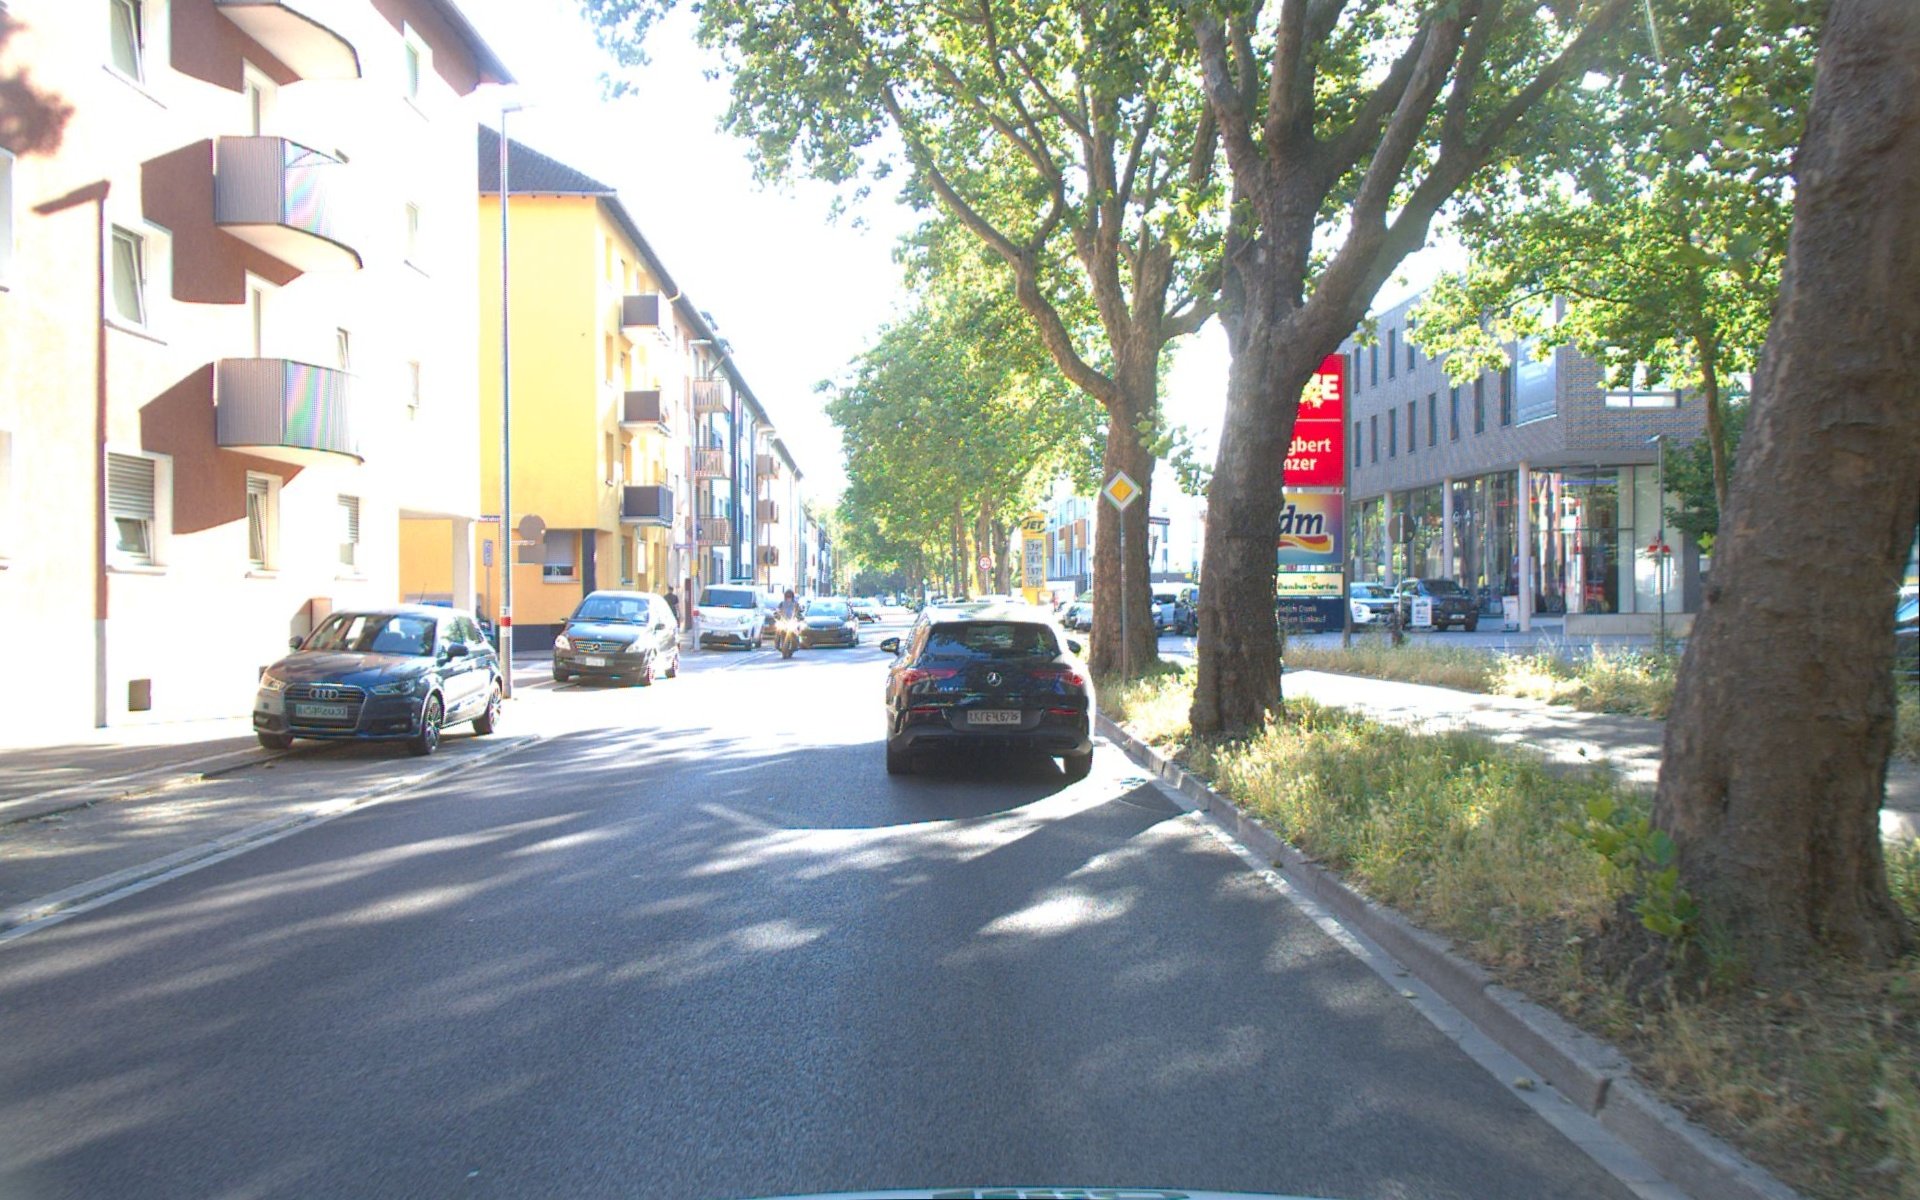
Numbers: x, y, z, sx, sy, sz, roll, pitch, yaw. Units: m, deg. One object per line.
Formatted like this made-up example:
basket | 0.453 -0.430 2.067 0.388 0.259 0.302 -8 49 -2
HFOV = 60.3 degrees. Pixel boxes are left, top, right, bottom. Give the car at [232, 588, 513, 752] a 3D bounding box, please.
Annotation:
car | -6.035 0.663 17.421 1.643 1.512 3.601 1 0 0

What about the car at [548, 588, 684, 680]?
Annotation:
car | -6.234 0.579 30.360 1.643 1.550 4.020 1 0 0

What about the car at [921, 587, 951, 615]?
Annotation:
car | -1.867 0.093 127.583 1.955 2.049 3.995 0 -2 -6

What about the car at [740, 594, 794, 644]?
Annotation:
car | -7.306 0.699 62.976 1.710 1.819 4.546 1 0 -3

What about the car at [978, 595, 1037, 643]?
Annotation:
car | 1.535 0.626 54.831 1.602 1.493 4.018 -2 -1 -3

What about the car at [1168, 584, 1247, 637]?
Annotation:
car | 8.557 0.352 57.543 1.790 1.762 4.364 -1 0 -4

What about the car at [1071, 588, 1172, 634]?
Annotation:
car | 6.300 0.419 64.339 3.780 1.638 1.718 -2 1 -38

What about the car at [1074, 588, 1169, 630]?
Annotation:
car | 6.633 0.354 67.620 3.783 1.606 1.716 -2 1 -40

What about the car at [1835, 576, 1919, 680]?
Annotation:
car | 14.629 0.393 23.719 1.822 1.494 4.121 -1 0 -3

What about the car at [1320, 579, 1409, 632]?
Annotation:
car | 14.105 0.180 57.936 1.839 1.764 4.177 -1 0 -4

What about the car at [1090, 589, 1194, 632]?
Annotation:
car | 6.821 0.378 61.801 3.776 1.572 1.642 -1 0 -36

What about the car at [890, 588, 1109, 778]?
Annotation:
car | 0.258 0.656 15.111 1.709 1.469 3.967 1 0 -2

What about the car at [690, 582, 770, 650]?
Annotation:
car | -6.959 0.463 50.474 1.699 1.940 5.208 1 0 0

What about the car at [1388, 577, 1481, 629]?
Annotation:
car | 16.547 0.100 57.883 1.945 1.764 4.179 -1 0 -1

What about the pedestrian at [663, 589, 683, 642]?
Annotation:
pedestrian | -9.882 0.531 56.956 0.575 1.821 0.642 -1 0 -1

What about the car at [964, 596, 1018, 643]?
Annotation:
car | 1.119 0.724 61.649 1.774 1.565 4.581 -3 -1 -1

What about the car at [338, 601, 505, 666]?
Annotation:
car | -13.787 0.844 42.518 3.707 1.594 1.748 -1 0 -1

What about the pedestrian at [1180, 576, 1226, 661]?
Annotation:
pedestrian | 5.267 0.392 35.875 0.754 1.792 0.661 -2 0 -13

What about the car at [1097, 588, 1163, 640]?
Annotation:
car | 5.896 0.467 57.654 1.717 1.699 4.156 -1 0 -2

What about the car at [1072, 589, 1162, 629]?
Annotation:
car | 6.841 0.360 71.715 3.783 1.606 1.721 -2 1 -40

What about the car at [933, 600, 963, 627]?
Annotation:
car | -0.764 0.824 102.290 1.688 1.585 3.598 1 -1 -3

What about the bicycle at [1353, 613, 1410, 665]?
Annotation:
bicycle | 8.499 0.780 33.390 0.377 1.021 1.479 -1 0 -18

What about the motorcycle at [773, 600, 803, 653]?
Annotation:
motorcycle | -4.300 0.658 41.480 0.536 1.263 2.263 -2 0 -2

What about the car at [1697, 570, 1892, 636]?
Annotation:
car | 23.006 0.068 45.676 4.395 1.691 2.029 -1 0 -5

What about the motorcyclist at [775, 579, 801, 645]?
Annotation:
motorcyclist | -4.309 0.289 41.524 0.574 1.633 0.831 -1 0 -2

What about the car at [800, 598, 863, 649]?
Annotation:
car | -4.047 0.707 52.537 1.735 1.504 4.321 -1 0 -1
